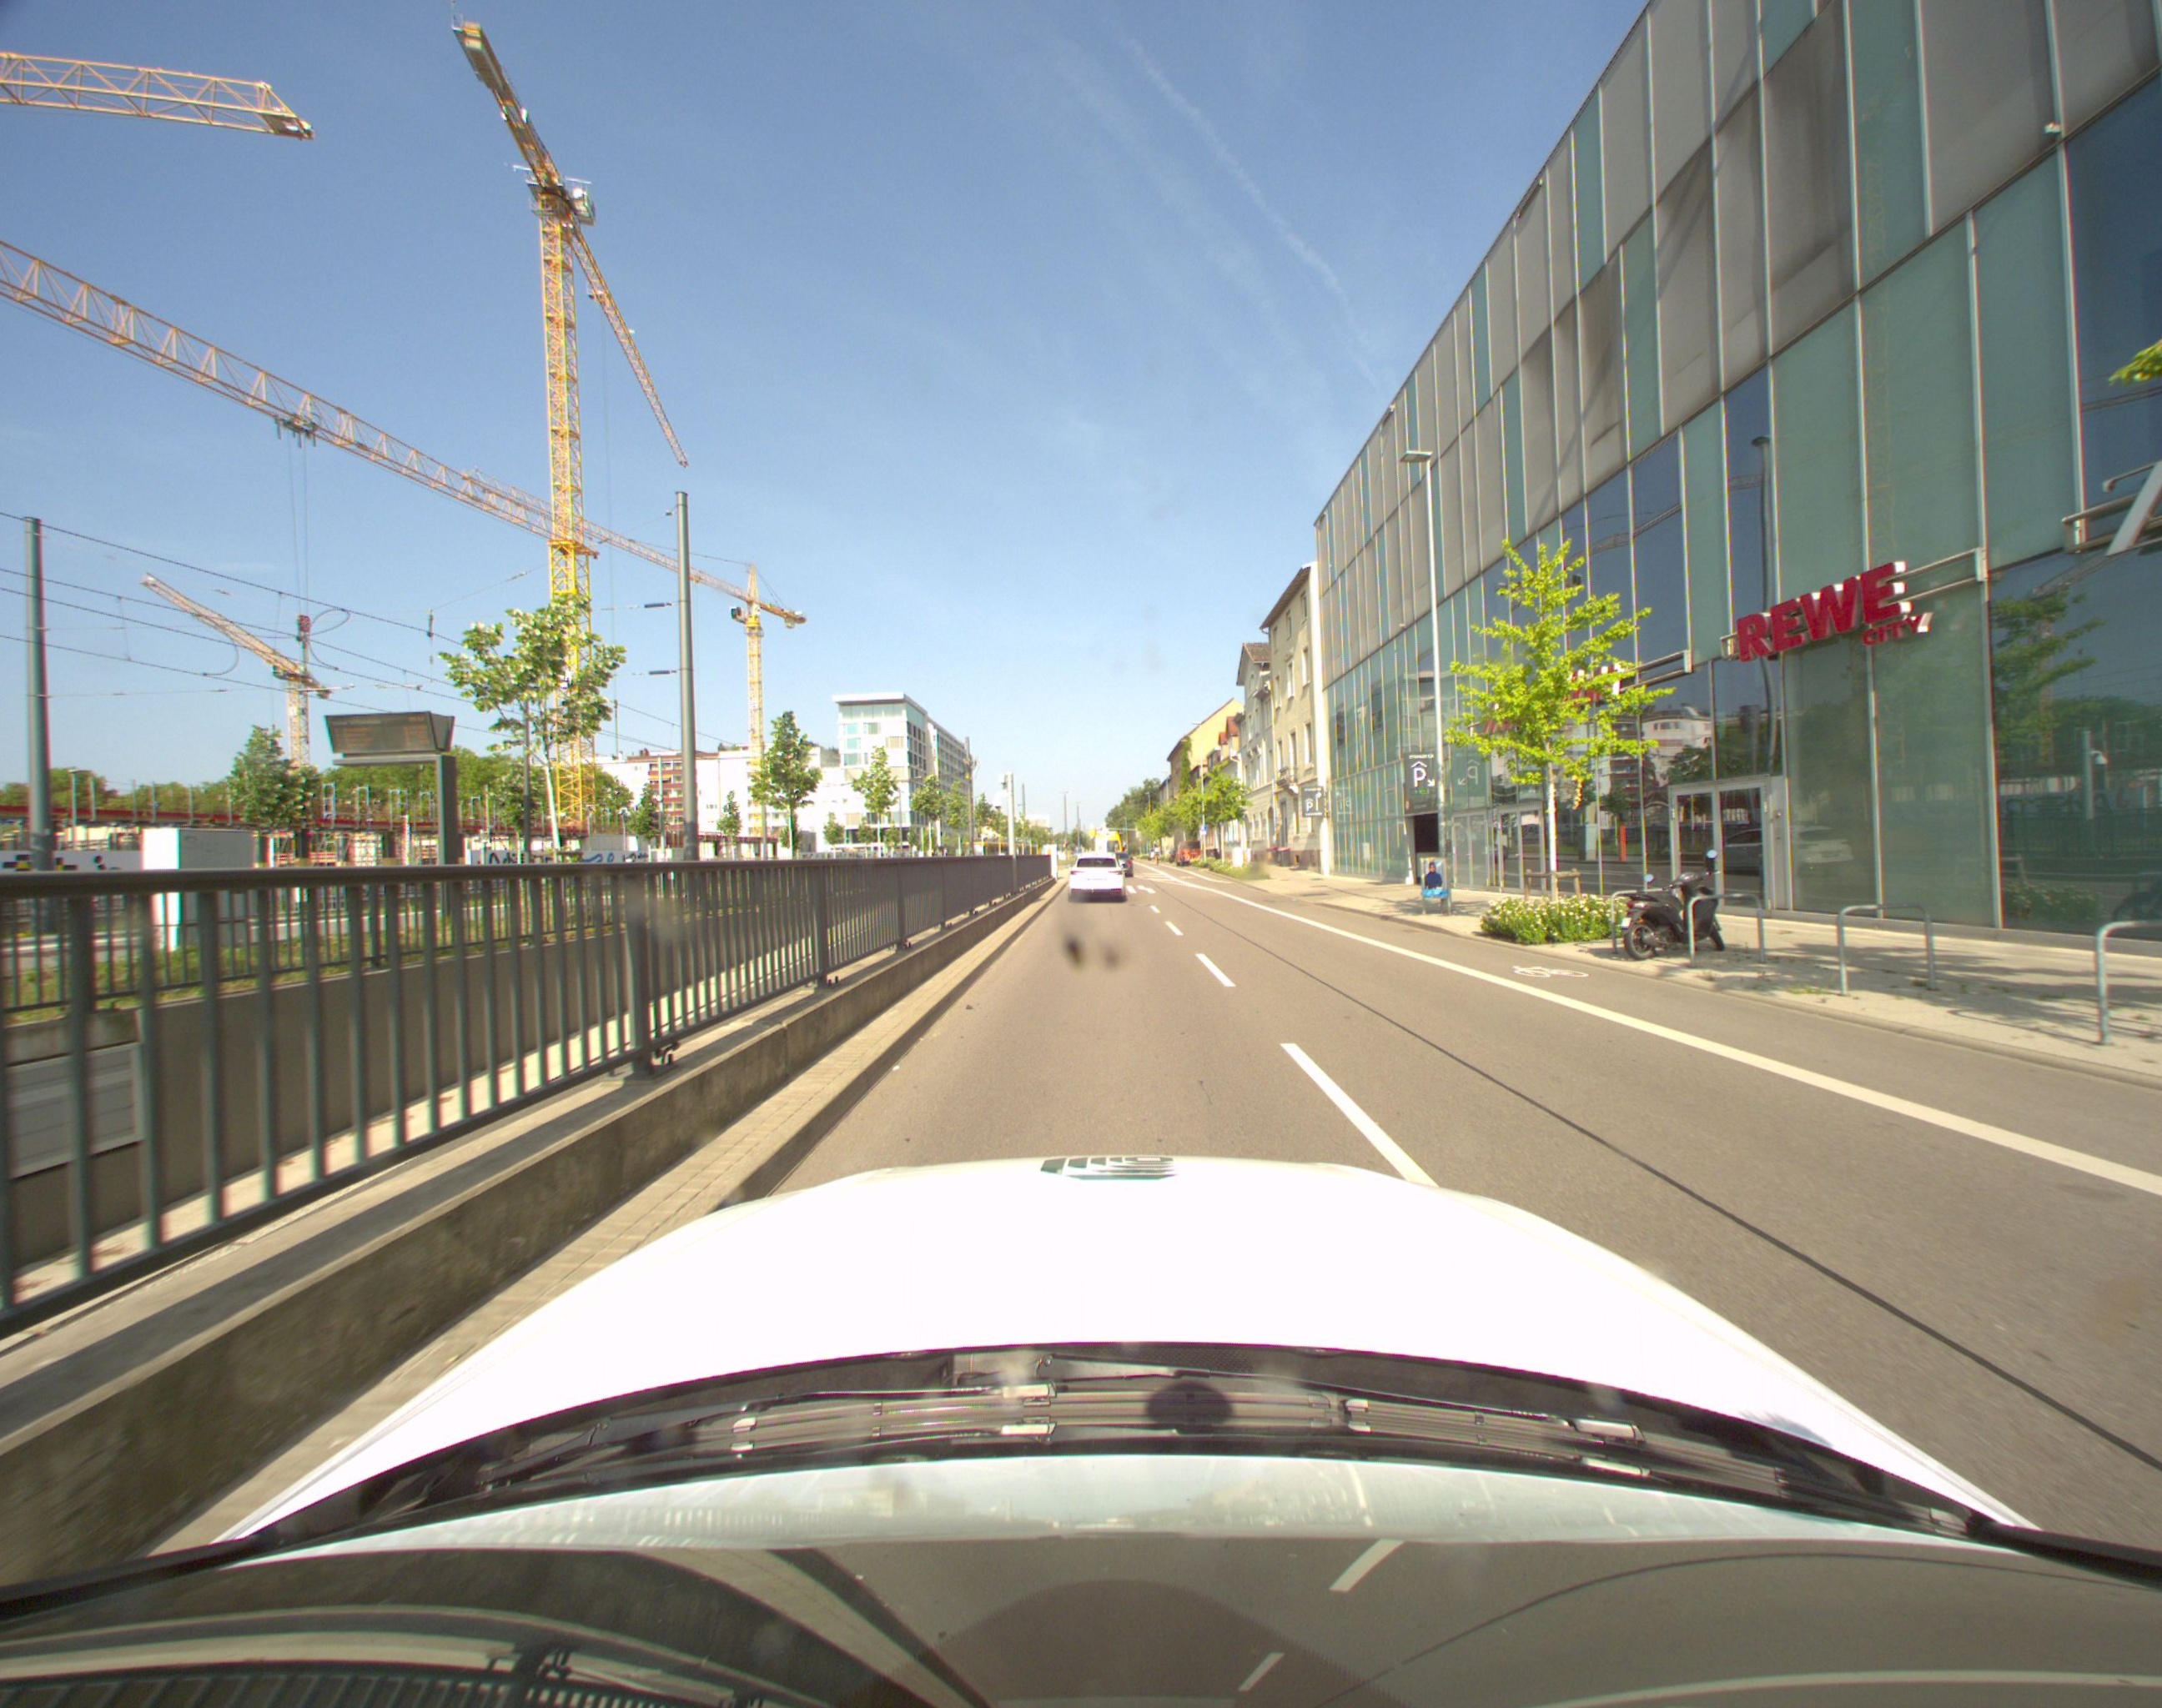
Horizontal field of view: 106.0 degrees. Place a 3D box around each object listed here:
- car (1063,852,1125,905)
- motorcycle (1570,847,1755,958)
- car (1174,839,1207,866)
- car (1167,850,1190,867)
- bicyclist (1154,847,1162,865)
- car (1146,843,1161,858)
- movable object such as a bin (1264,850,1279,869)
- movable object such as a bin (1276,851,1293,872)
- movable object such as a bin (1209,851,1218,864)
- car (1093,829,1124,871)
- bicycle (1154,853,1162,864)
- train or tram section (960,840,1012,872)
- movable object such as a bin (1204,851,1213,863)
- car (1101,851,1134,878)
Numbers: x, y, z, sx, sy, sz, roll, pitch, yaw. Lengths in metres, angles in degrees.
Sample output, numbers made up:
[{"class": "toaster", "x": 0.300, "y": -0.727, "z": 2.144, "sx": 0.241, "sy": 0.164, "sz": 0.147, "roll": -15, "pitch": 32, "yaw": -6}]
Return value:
[{"class": "car", "x": 0.473, "y": 0.747, "z": 27.129, "sx": 1.863, "sy": 1.574, "sz": 4.002, "roll": -2, "pitch": 0, "yaw": 2}, {"class": "motorcycle", "x": 7.834, "y": 0.623, "z": 11.018, "sx": 1.968, "sy": 1.349, "sz": 0.865, "roll": -2, "pitch": 0, "yaw": -9}, {"class": "car", "x": 8.710, "y": -0.163, "z": 65.017, "sx": 2.055, "sy": 2.013, "sz": 4.590, "roll": -2, "pitch": 1, "yaw": 1}, {"class": "car", "x": 9.327, "y": 0.390, "z": 78.054, "sx": 1.667, "sy": 1.483, "sz": 4.313, "roll": -3, "pitch": 0, "yaw": 1}, {"class": "bicyclist", "x": 6.930, "y": 0.163, "z": 73.564, "sx": 0.636, "sy": 1.577, "sz": 0.772, "roll": -2, "pitch": 0, "yaw": 4}, {"class": "car", "x": 9.650, "y": -0.478, "z": 108.601, "sx": 1.806, "sy": 1.812, "sz": 3.837, "roll": -2, "pitch": 0, "yaw": 1}, {"class": "movable object such as a bin", "x": 11.825, "y": 0.338, "z": 50.490, "sx": 0.674, "sy": 1.152, "sz": 0.610, "roll": -3, "pitch": 2, "yaw": -42}, {"class": "movable object such as a bin", "x": 11.735, "y": 0.412, "z": 47.068, "sx": 0.779, "sy": 1.172, "sz": 0.808, "roll": -1, "pitch": 2, "yaw": 1}, {"class": "movable object such as a bin", "x": 12.618, "y": 0.307, "z": 77.698, "sx": 0.677, "sy": 1.200, "sz": 0.781, "roll": -1, "pitch": 0, "yaw": 1}, {"class": "car", "x": 1.951, "y": -0.352, "z": 58.211, "sx": 2.012, "sy": 2.795, "sz": 5.404, "roll": -2, "pitch": 2, "yaw": 2}, {"class": "bicycle", "x": 6.931, "y": 0.434, "z": 73.423, "sx": 0.652, "sy": 0.938, "sz": 1.519, "roll": -2, "pitch": 0, "yaw": 4}, {"class": "train or tram section", "x": -11.627, "y": 0.242, "z": 101.908, "sx": 2.892, "sy": 3.676, "sz": 18.160, "roll": 0, "pitch": 0, "yaw": 5}, {"class": "movable object such as a bin", "x": 12.608, "y": 0.287, "z": 80.731, "sx": 0.737, "sy": 1.200, "sz": 0.773, "roll": -1, "pitch": 0, "yaw": 0}, {"class": "car", "x": 2.071, "y": 0.546, "z": 46.321, "sx": 1.753, "sy": 1.436, "sz": 4.117, "roll": 0, "pitch": 0, "yaw": 2}]
